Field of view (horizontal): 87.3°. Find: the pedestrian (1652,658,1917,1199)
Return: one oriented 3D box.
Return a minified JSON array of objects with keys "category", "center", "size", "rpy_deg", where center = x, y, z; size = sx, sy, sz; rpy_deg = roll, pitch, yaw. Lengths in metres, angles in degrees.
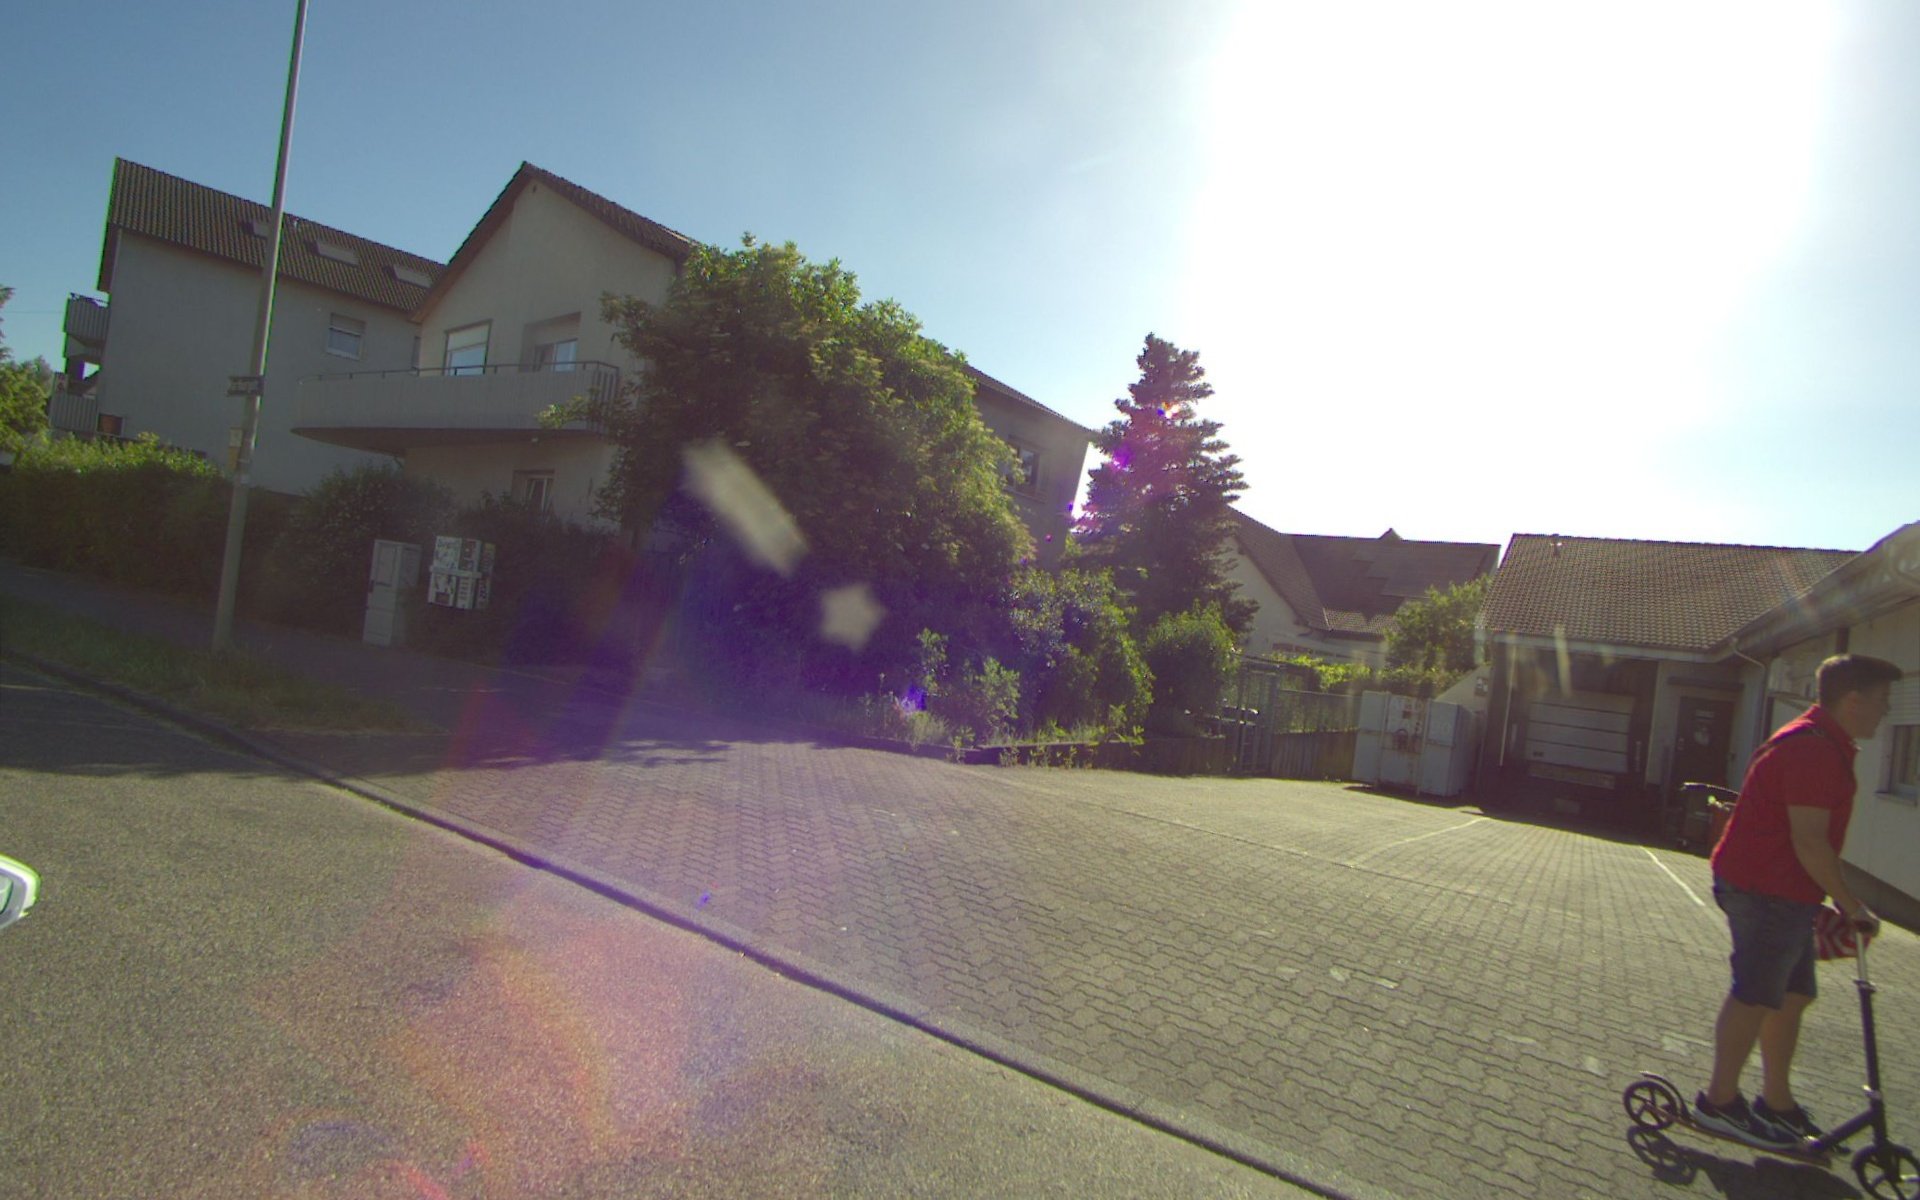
[{"category":"pedestrian","center":[2.933,1.164,3.639],"size":[0.478,1.856,0.484],"rpy_deg":[7,3,31]}]

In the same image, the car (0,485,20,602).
[{"category":"car","center":[-12.388,-0.600,11.090],"size":[3.934,1.804,1.809],"rpy_deg":[6,-4,32]}]
